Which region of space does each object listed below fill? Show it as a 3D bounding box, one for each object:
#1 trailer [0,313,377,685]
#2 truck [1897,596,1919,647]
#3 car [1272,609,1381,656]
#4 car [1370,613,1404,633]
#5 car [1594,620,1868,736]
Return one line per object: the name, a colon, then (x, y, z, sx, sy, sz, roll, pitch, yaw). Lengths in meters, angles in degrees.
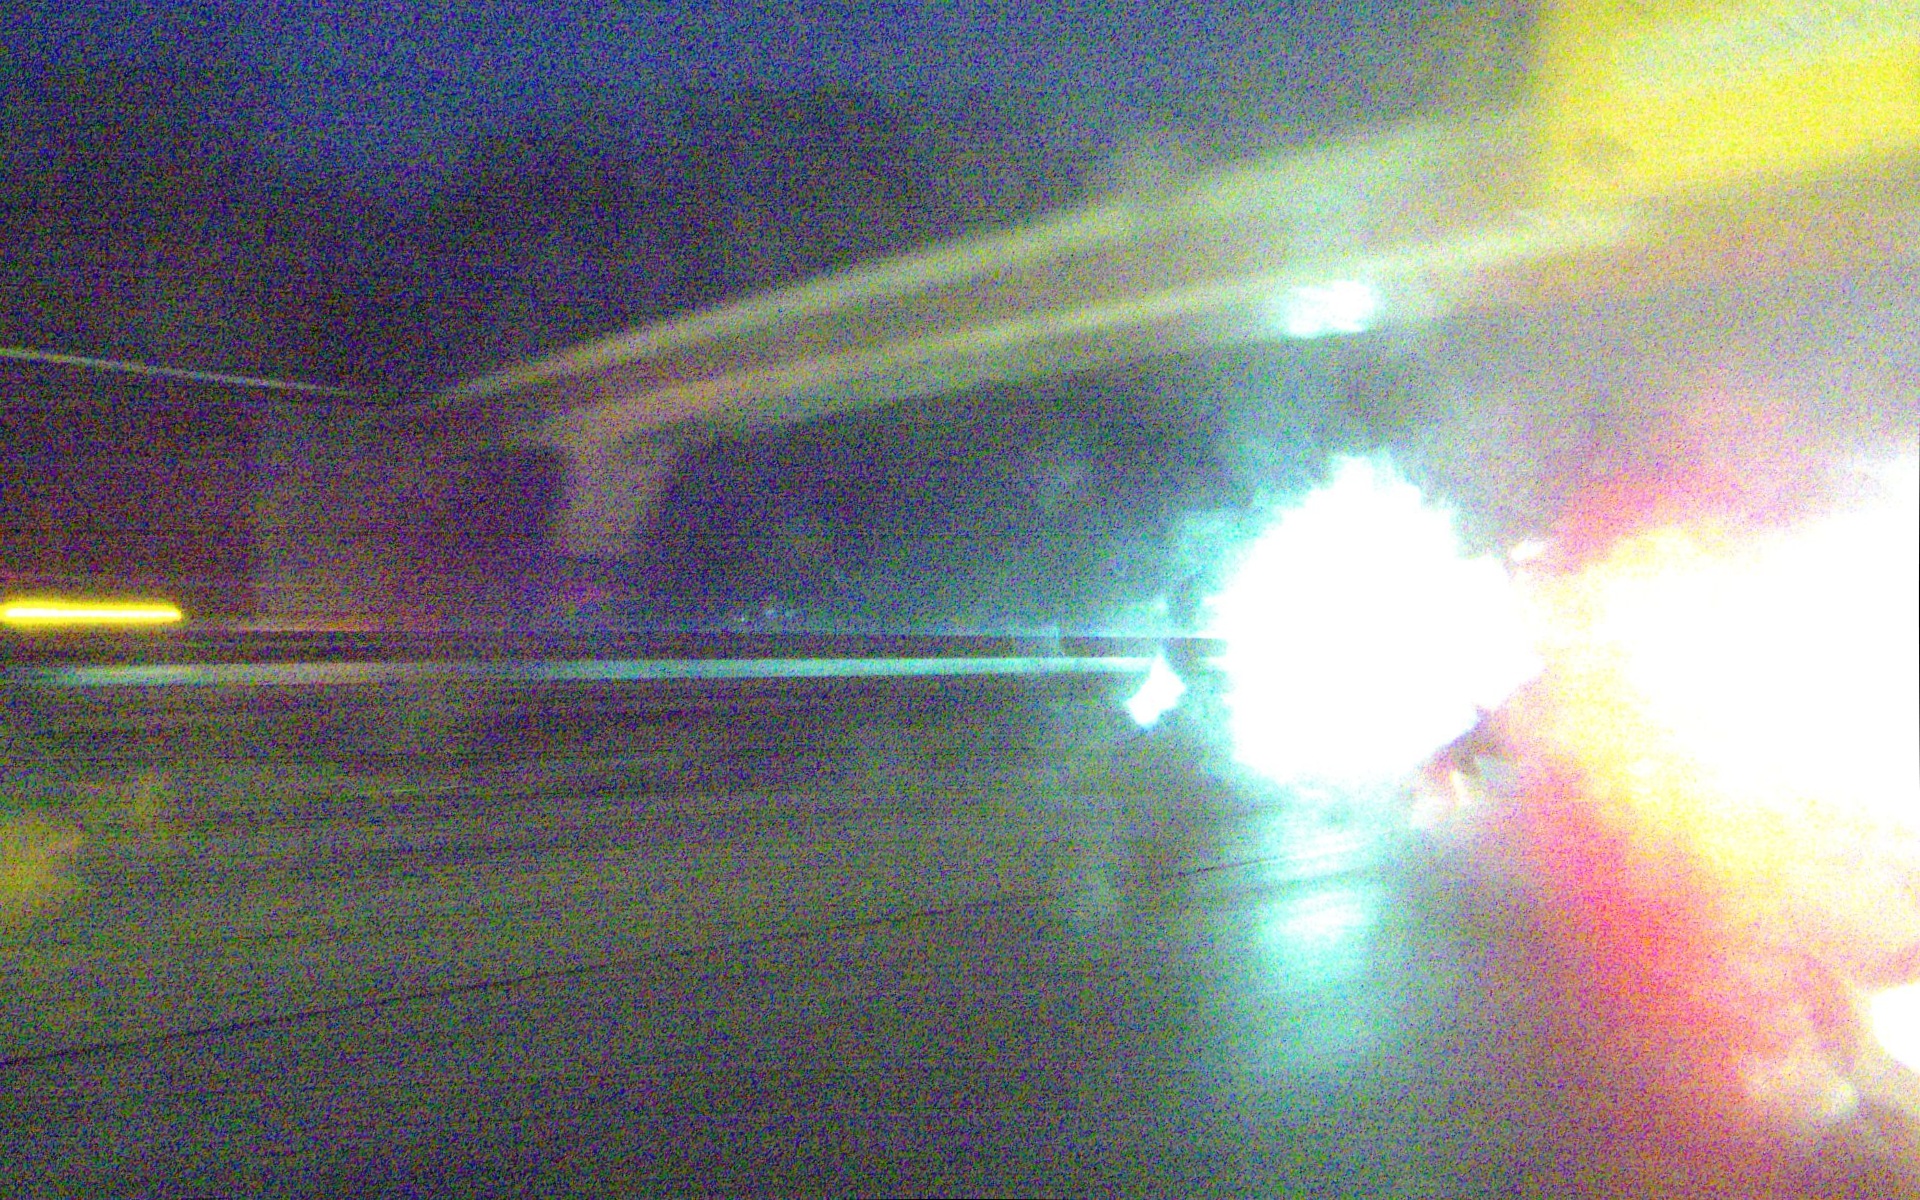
trailer: (-14.266, -1.352, 12.102, 12.354, 4.516, 2.561, 3, 1, -32)
truck: (68.944, 1.590, 71.604, 4.605, 3.503, 2.582, 3, 0, -41)
car: (14.203, 1.274, 38.867, 4.154, 1.665, 1.885, 3, 0, -35)
car: (38.110, 2.033, 89.658, 1.799, 1.736, 4.003, 2, 0, 9)
car: (12.160, 1.153, 15.747, 4.859, 1.537, 1.758, 2, 0, -31)
